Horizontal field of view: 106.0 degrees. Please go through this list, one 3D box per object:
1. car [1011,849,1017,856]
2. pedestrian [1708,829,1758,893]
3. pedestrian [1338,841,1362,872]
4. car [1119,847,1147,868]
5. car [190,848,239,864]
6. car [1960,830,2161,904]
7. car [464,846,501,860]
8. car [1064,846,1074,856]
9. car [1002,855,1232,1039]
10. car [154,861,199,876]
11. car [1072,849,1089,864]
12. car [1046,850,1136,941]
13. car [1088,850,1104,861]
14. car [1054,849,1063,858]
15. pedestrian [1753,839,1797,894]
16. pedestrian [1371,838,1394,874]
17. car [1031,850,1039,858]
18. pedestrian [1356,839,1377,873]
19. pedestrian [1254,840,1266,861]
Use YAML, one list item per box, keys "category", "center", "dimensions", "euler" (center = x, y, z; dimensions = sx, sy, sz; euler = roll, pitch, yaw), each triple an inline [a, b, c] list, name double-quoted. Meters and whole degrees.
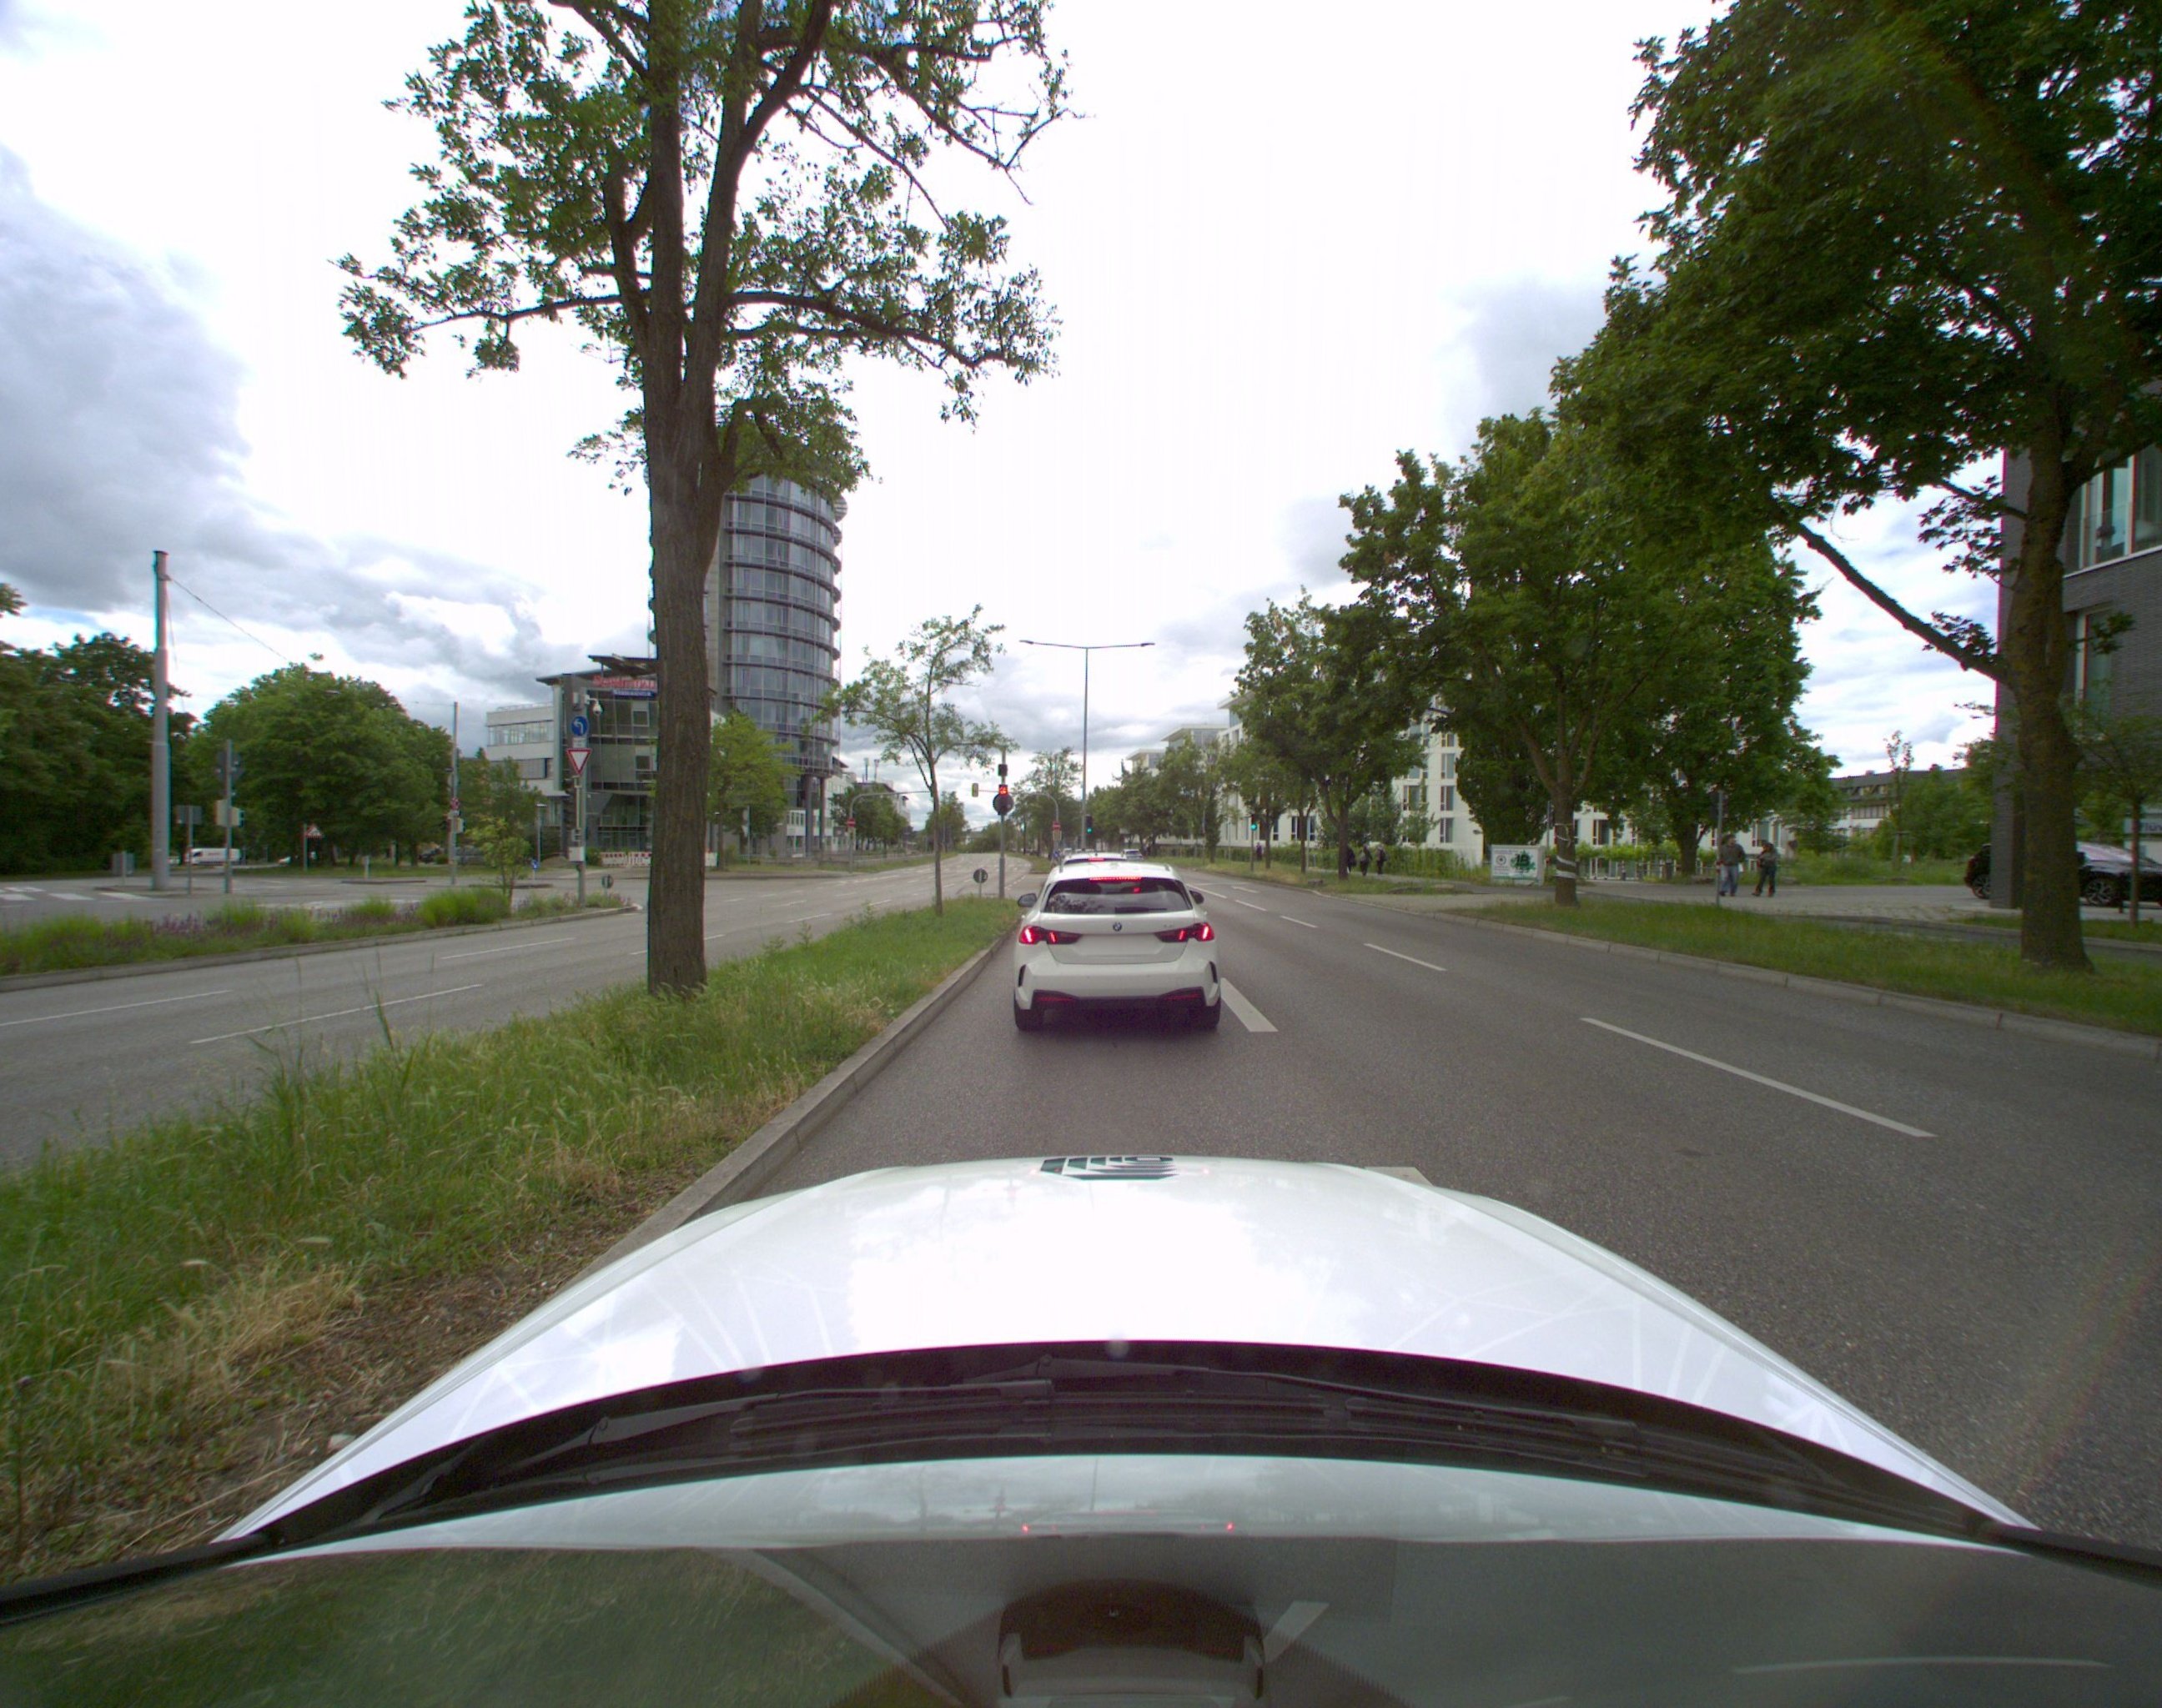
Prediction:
- category: "car"
  center: [-20.552, -0.340, 249.708]
  dimensions: [1.834, 2.014, 3.994]
  euler: [0, -1, -4]
- category: "pedestrian"
  center: [19.461, 0.194, 24.308]
  dimensions: [0.983, 1.868, 0.952]
  euler: [0, 0, -38]
- category: "pedestrian"
  center: [12.963, 0.112, 39.317]
  dimensions: [0.786, 1.448, 1.112]
  euler: [0, -1, 1]
- category: "car"
  center: [4.374, 0.252, 68.986]
  dimensions: [1.987, 1.670, 3.999]
  euler: [-2, 0, 0]
- category: "car"
  center: [-128.873, 0.264, 121.190]
  dimensions: [1.978, 2.339, 4.570]
  euler: [-1, -1, 16]
- category: "car"
  center: [24.891, 0.294, 20.222]
  dimensions: [1.749, 1.646, 4.151]
  euler: [0, 0, 2]
- category: "car"
  center: [-37.364, -0.060, 50.879]
  dimensions: [0.766, 0.876, 1.730]
  euler: [0, 0, 38]
- category: "car"
  center: [-2.059, -0.478, 133.708]
  dimensions: [1.597, 1.666, 3.997]
  euler: [0, 0, -2]
- category: "car"
  center: [0.347, 0.737, 8.448]
  dimensions: [1.815, 1.438, 4.002]
  euler: [0, 0, 2]
- category: "car"
  center: [-126.600, 1.982, 114.001]
  dimensions: [3.988, 2.013, 1.717]
  euler: [0, 0, -11]
- category: "car"
  center: [-0.088, 0.302, 97.581]
  dimensions: [1.692, 1.717, 3.994]
  euler: [0, 0, -4]
- category: "car"
  center: [0.241, 0.710, 15.975]
  dimensions: [1.544, 1.569, 4.002]
  euler: [0, 0, 2]
- category: "car"
  center: [1.962, 0.232, 108.029]
  dimensions: [1.689, 1.486, 3.688]
  euler: [0, 0, -4]
- category: "car"
  center: [-4.231, -0.135, 154.218]
  dimensions: [1.734, 1.666, 3.997]
  euler: [0, 0, -2]
- category: "pedestrian"
  center: [20.301, 0.354, 23.812]
  dimensions: [0.880, 1.557, 0.825]
  euler: [0, 0, -38]
- category: "pedestrian"
  center: [14.537, 0.100, 39.315]
  dimensions: [0.764, 1.685, 0.883]
  euler: [0, -1, 1]
- category: "car"
  center: [-9.639, 0.035, 170.002]
  dimensions: [1.597, 1.666, 3.997]
  euler: [0, 0, -2]
- category: "pedestrian"
  center: [13.733, 0.105, 39.247]
  dimensions: [0.697, 1.595, 0.883]
  euler: [0, -1, 1]
- category: "pedestrian"
  center: [13.342, -0.243, 60.843]
  dimensions: [0.739, 1.574, 0.674]
  euler: [0, -1, 0]
